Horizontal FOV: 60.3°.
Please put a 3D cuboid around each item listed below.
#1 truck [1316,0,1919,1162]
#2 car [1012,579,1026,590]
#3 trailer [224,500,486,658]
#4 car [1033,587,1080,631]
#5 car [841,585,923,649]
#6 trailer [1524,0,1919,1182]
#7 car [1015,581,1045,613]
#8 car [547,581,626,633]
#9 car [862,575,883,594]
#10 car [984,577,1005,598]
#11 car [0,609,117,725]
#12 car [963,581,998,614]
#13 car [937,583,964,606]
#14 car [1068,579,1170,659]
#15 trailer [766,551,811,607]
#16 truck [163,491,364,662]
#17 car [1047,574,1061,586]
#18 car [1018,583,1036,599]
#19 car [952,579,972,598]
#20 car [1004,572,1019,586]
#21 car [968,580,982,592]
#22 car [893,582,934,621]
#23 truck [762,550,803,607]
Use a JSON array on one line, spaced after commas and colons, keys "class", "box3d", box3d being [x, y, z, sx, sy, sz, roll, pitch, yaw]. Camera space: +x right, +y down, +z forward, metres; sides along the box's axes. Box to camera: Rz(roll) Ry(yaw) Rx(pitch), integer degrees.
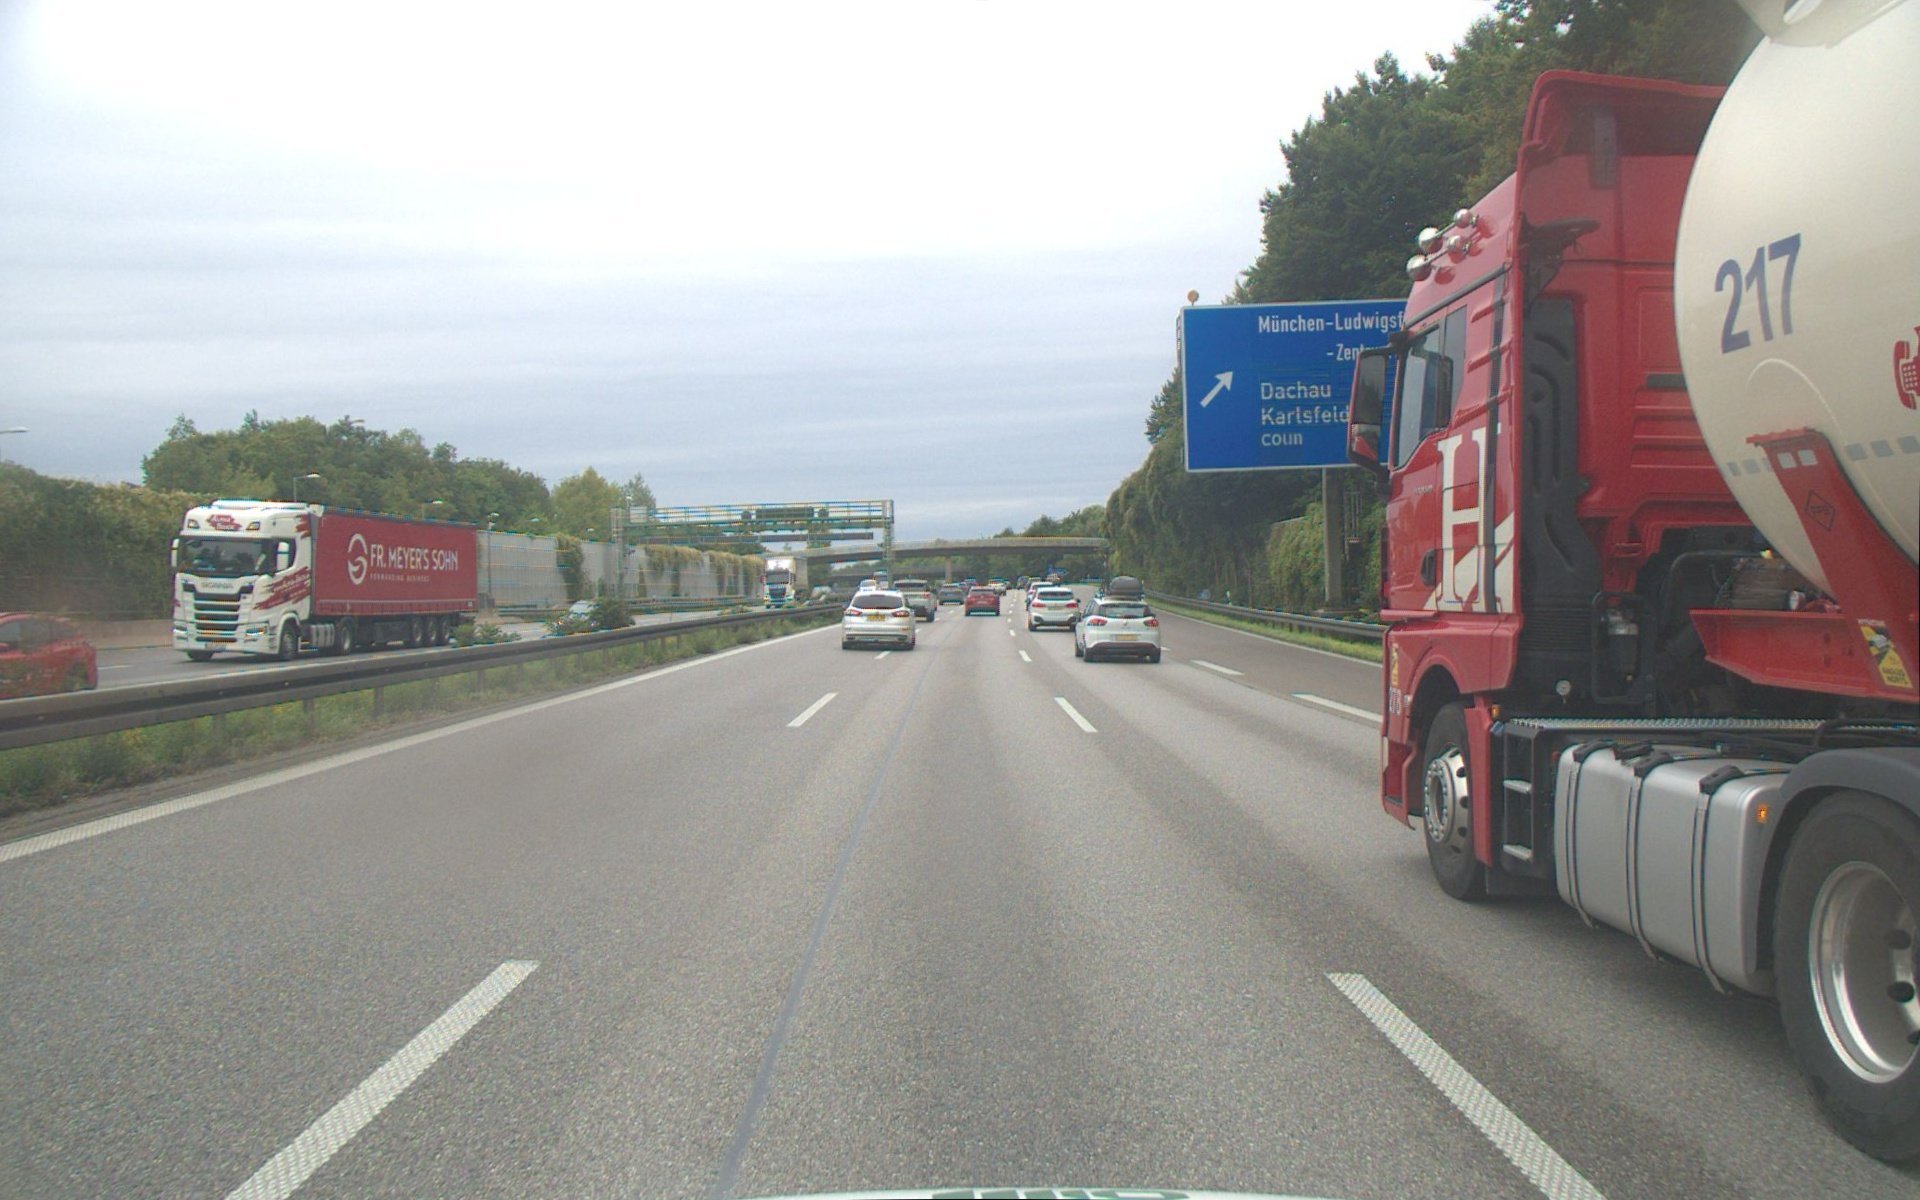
[{"class": "truck", "box3d": [3.764, -0.506, 7.795, 2.640, 3.980, 6.555, 0, 1, -1]}, {"class": "car", "box3d": [7.402, -1.944, 208.307, 1.654, 1.447, 3.872, 0, 0, 1]}, {"class": "trailer", "box3d": [-18.082, -0.625, 50.927, 2.688, 4.200, 13.691, 0, 0, 2]}, {"class": "car", "box3d": [3.472, 0.333, 59.813, 1.653, 1.533, 3.872, 0, 0, 3]}, {"class": "car", "box3d": [-1.951, 0.413, 42.862, 1.853, 1.530, 5.030, 1, 0, 0]}, {"class": "trailer", "box3d": [3.870, -0.488, 0.564, 2.614, 4.008, 13.126, 0, 0, -1]}, {"class": "car", "box3d": [4.074, -0.160, 95.879, 1.653, 1.811, 3.873, -1, 0, 3]}, {"class": "car", "box3d": [-13.555, 0.227, 60.240, 1.953, 1.769, 4.000, 1, 1, -1]}, {"class": "car", "box3d": [-9.380, -1.666, 178.221, 1.952, 2.049, 4.910, 0, 0, 1]}, {"class": "car", "box3d": [3.194, -1.156, 153.881, 1.752, 1.811, 3.873, -1, 0, 3]}, {"class": "car", "box3d": [-14.178, 0.937, 23.828, 1.736, 1.597, 4.716, 0, 0, -1]}, {"class": "car", "box3d": [1.069, -0.162, 84.124, 1.654, 1.532, 3.872, 4, 1, 2]}, {"class": "car", "box3d": [-0.654, -0.391, 117.454, 1.653, 1.533, 3.873, -2, 0, 3]}, {"class": "car", "box3d": [3.586, 0.424, 38.127, 1.779, 1.654, 5.029, 2, 0, -1]}, {"class": "trailer", "box3d": [-14.428, -1.754, 139.632, 2.613, 4.522, 8.575, -1, 0, 2]}, {"class": "truck", "box3d": [-18.241, -0.599, 43.733, 2.613, 4.200, 5.918, -1, 0, 2]}, {"class": "car", "box3d": [11.964, -2.536, 211.610, 1.654, 1.447, 3.872, 0, 0, 1]}, {"class": "car", "box3d": [6.593, -0.894, 161.980, 1.653, 1.566, 3.873, 0, 0, 3]}, {"class": "car", "box3d": [0.209, -1.028, 152.599, 1.653, 1.668, 3.873, -1, 0, 3]}, {"class": "car", "box3d": [5.887, -2.352, 189.249, 1.653, 1.566, 3.873, 0, 0, 3]}, {"class": "car", "box3d": [1.764, -1.667, 196.195, 1.654, 1.447, 3.872, 0, 0, 1]}, {"class": "car", "box3d": [-2.002, 0.043, 71.779, 1.655, 1.532, 3.871, 4, 1, -1]}, {"class": "truck", "box3d": [-14.563, -1.776, 135.903, 2.594, 4.551, 5.284, -1, 0, 2]}]
